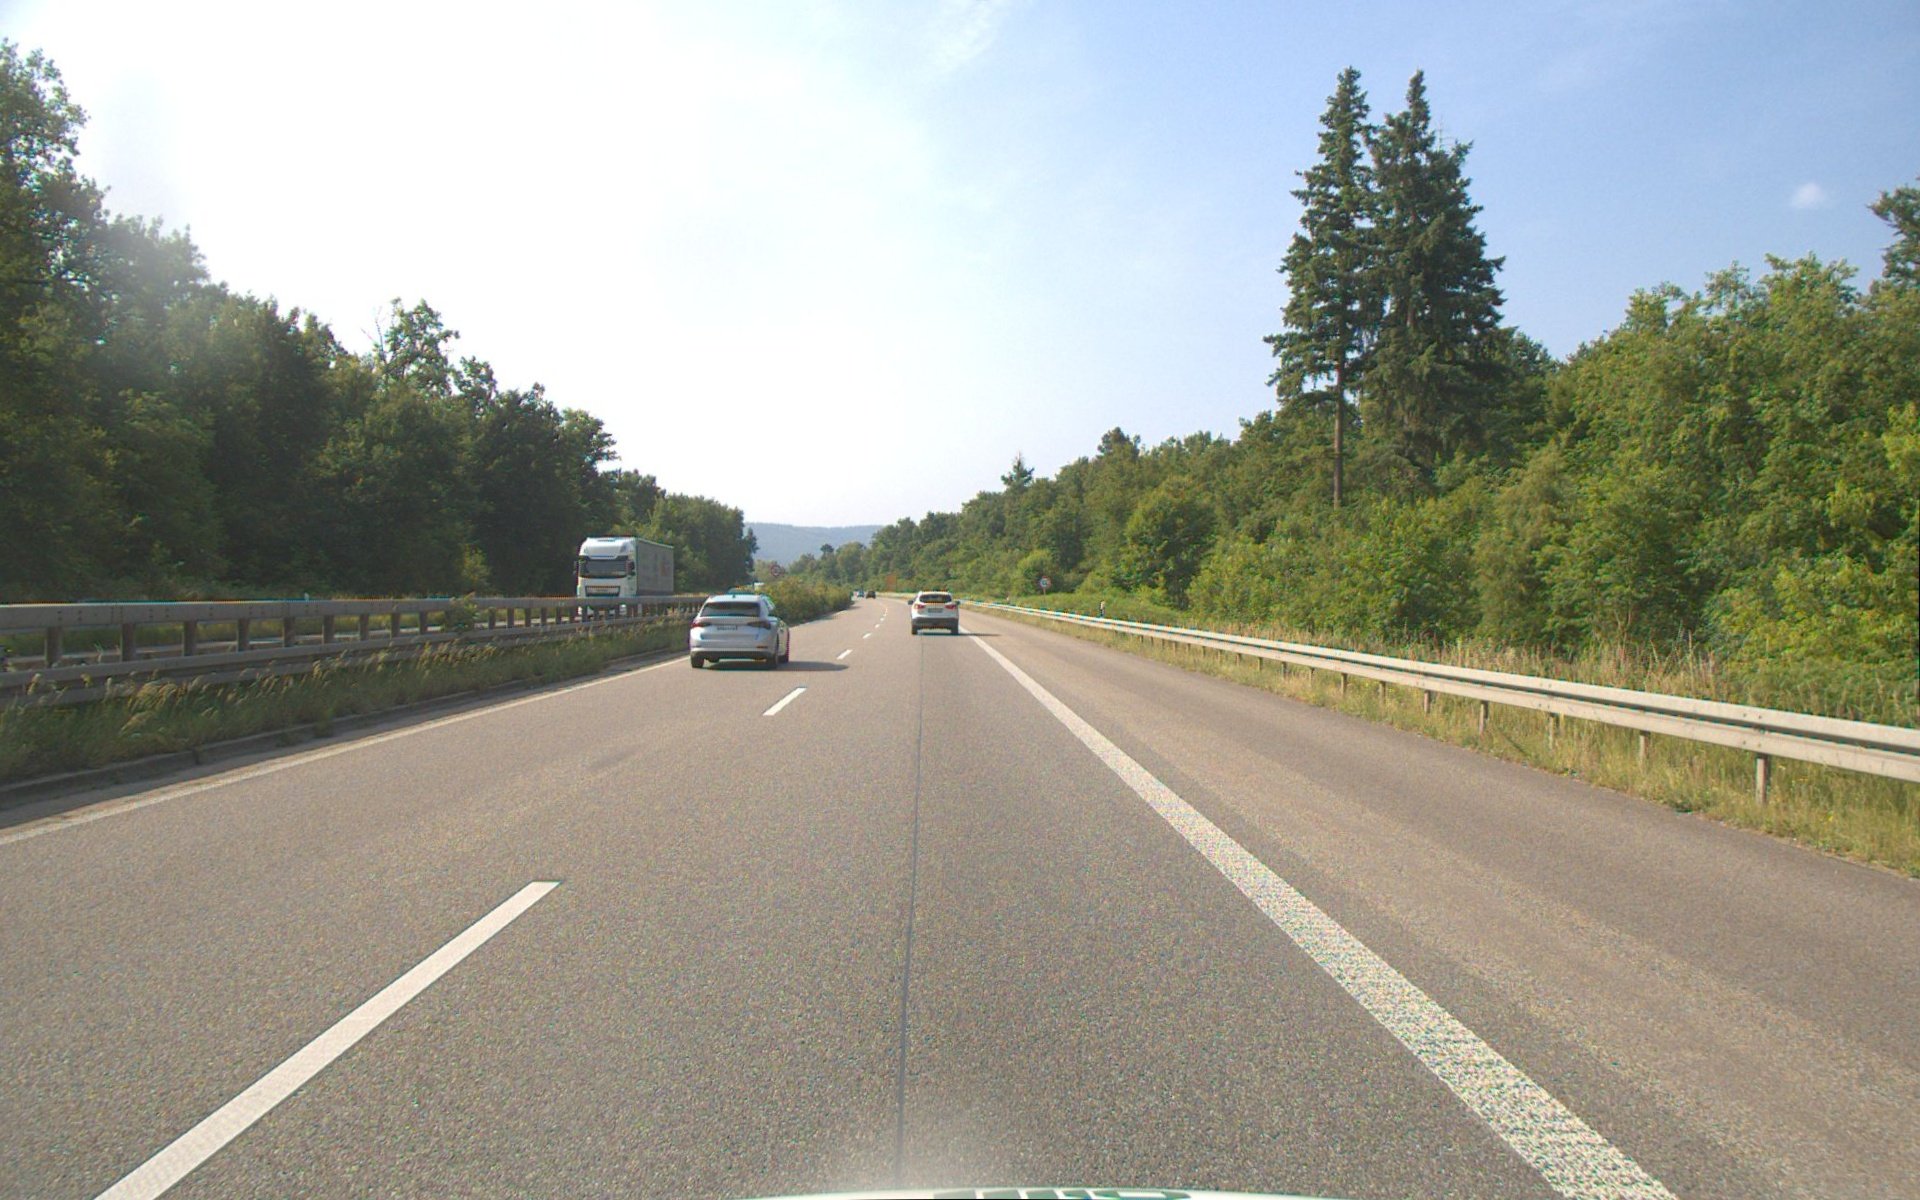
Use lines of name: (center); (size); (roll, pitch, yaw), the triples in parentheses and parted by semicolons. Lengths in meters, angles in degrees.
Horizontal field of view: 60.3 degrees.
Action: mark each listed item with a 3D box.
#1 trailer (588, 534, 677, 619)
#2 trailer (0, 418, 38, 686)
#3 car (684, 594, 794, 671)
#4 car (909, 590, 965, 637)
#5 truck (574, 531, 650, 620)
trailer: (-17.619, -1.237, 89.799); (2.776, 4.282, 12.406); (0, 0, -2)
trailer: (-16.290, -0.769, 22.211); (3.228, 4.110, 8.371); (1, 0, -1)
car: (-4.539, 0.619, 34.694); (1.756, 1.463, 5.276); (0, 0, -2)
car: (-0.896, 0.479, 62.333); (1.836, 1.614, 3.997); (2, 1, -4)
truck: (-17.336, -1.191, 82.642); (2.781, 4.269, 5.544); (0, 0, -2)
